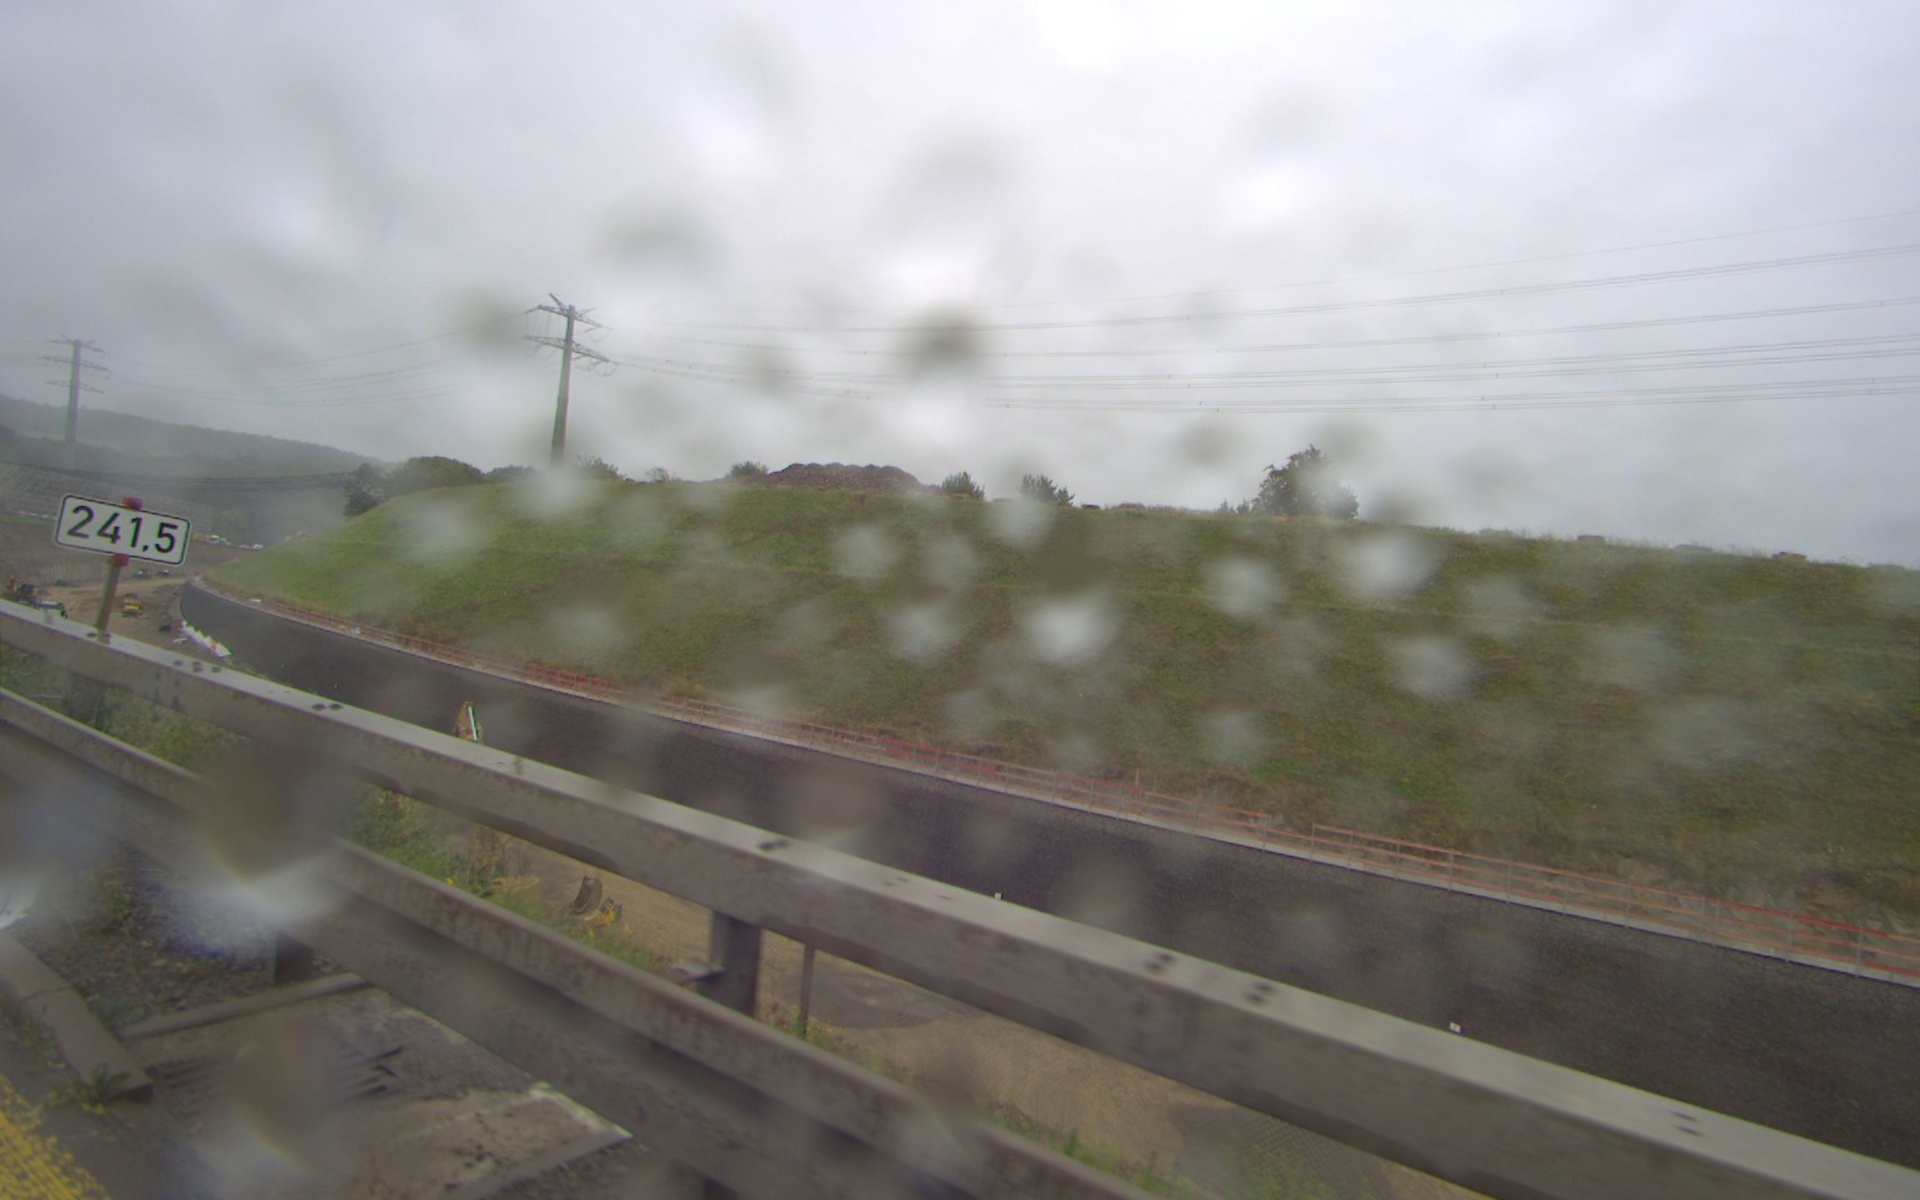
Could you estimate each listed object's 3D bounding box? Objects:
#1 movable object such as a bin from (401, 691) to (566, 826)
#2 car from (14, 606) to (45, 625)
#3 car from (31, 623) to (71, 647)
[{"bbox_3d":[-17.239,5.655,36.437,4.053,3.910,3.222,8,-2,32],"label":"movable object such as a bin"},{"bbox_3d":[-115.271,1.933,124.591,3.938,1.837,1.995,6,-1,36],"label":"car"},{"bbox_3d":[-102.274,3.961,113.171,3.936,2.036,2.369,7,-2,34],"label":"car"}]
